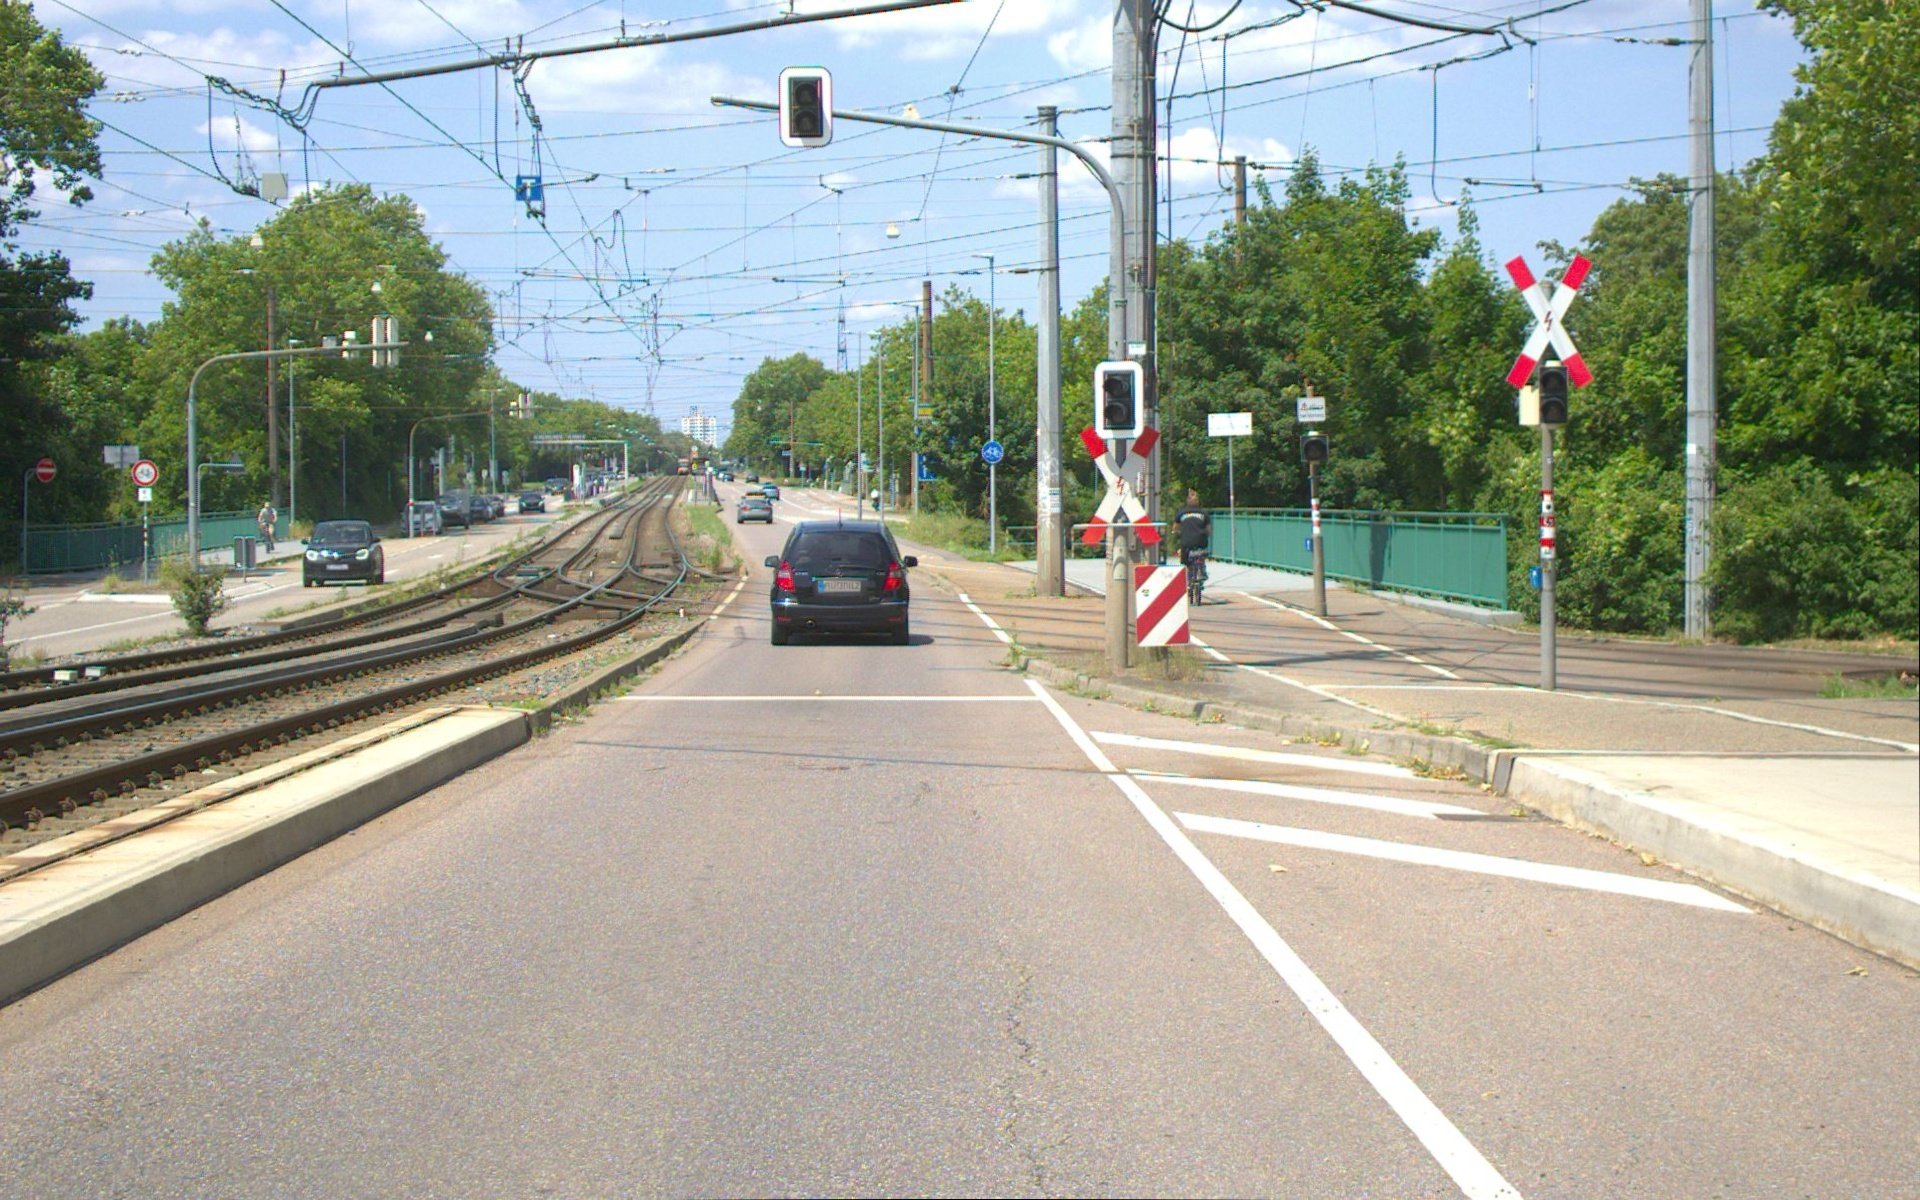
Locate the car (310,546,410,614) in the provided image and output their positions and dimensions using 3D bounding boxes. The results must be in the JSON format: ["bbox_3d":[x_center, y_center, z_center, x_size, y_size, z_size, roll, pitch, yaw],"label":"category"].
[{"bbox_3d":[-14.337,-0.488,82.291,1.705,1.505,3.733,-1,2,0],"label":"car"}]

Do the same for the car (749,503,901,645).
[{"bbox_3d":[-1.710,-0.385,44.778,1.853,1.564,4.389,1,4,-1],"label":"car"}]

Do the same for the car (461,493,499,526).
[{"bbox_3d":[-30.190,-5.685,216.283,1.993,2.007,4.001,0,1,-3],"label":"car"}]

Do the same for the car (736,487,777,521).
[{"bbox_3d":[-11.043,-5.203,186.644,1.885,1.634,4.001,3,3,0],"label":"car"}]

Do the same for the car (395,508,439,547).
[{"bbox_3d":[-26.400,-3.551,167.275,1.719,1.625,4.618,-3,4,-5],"label":"car"}]

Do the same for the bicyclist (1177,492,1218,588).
[{"bbox_3d":[3.755,-0.961,54.461,0.585,1.489,0.558,1,3,1],"label":"bicyclist"}]

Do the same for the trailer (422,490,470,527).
[{"bbox_3d":[-27.342,-4.880,182.822,2.461,1.882,5.964,0,2,-9],"label":"trailer"}]

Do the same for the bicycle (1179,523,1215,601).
[{"bbox_3d":[3.753,-0.615,54.515,0.432,1.148,1.855,1,3,0],"label":"bicycle"}]

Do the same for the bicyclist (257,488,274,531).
[{"bbox_3d":[-23.540,-3.071,116.571,0.456,1.469,0.633,0,2,-2],"label":"bicyclist"}]

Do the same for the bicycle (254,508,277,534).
[{"bbox_3d":[-23.535,-2.668,116.556,0.469,0.865,1.743,0,2,-2],"label":"bicycle"}]
